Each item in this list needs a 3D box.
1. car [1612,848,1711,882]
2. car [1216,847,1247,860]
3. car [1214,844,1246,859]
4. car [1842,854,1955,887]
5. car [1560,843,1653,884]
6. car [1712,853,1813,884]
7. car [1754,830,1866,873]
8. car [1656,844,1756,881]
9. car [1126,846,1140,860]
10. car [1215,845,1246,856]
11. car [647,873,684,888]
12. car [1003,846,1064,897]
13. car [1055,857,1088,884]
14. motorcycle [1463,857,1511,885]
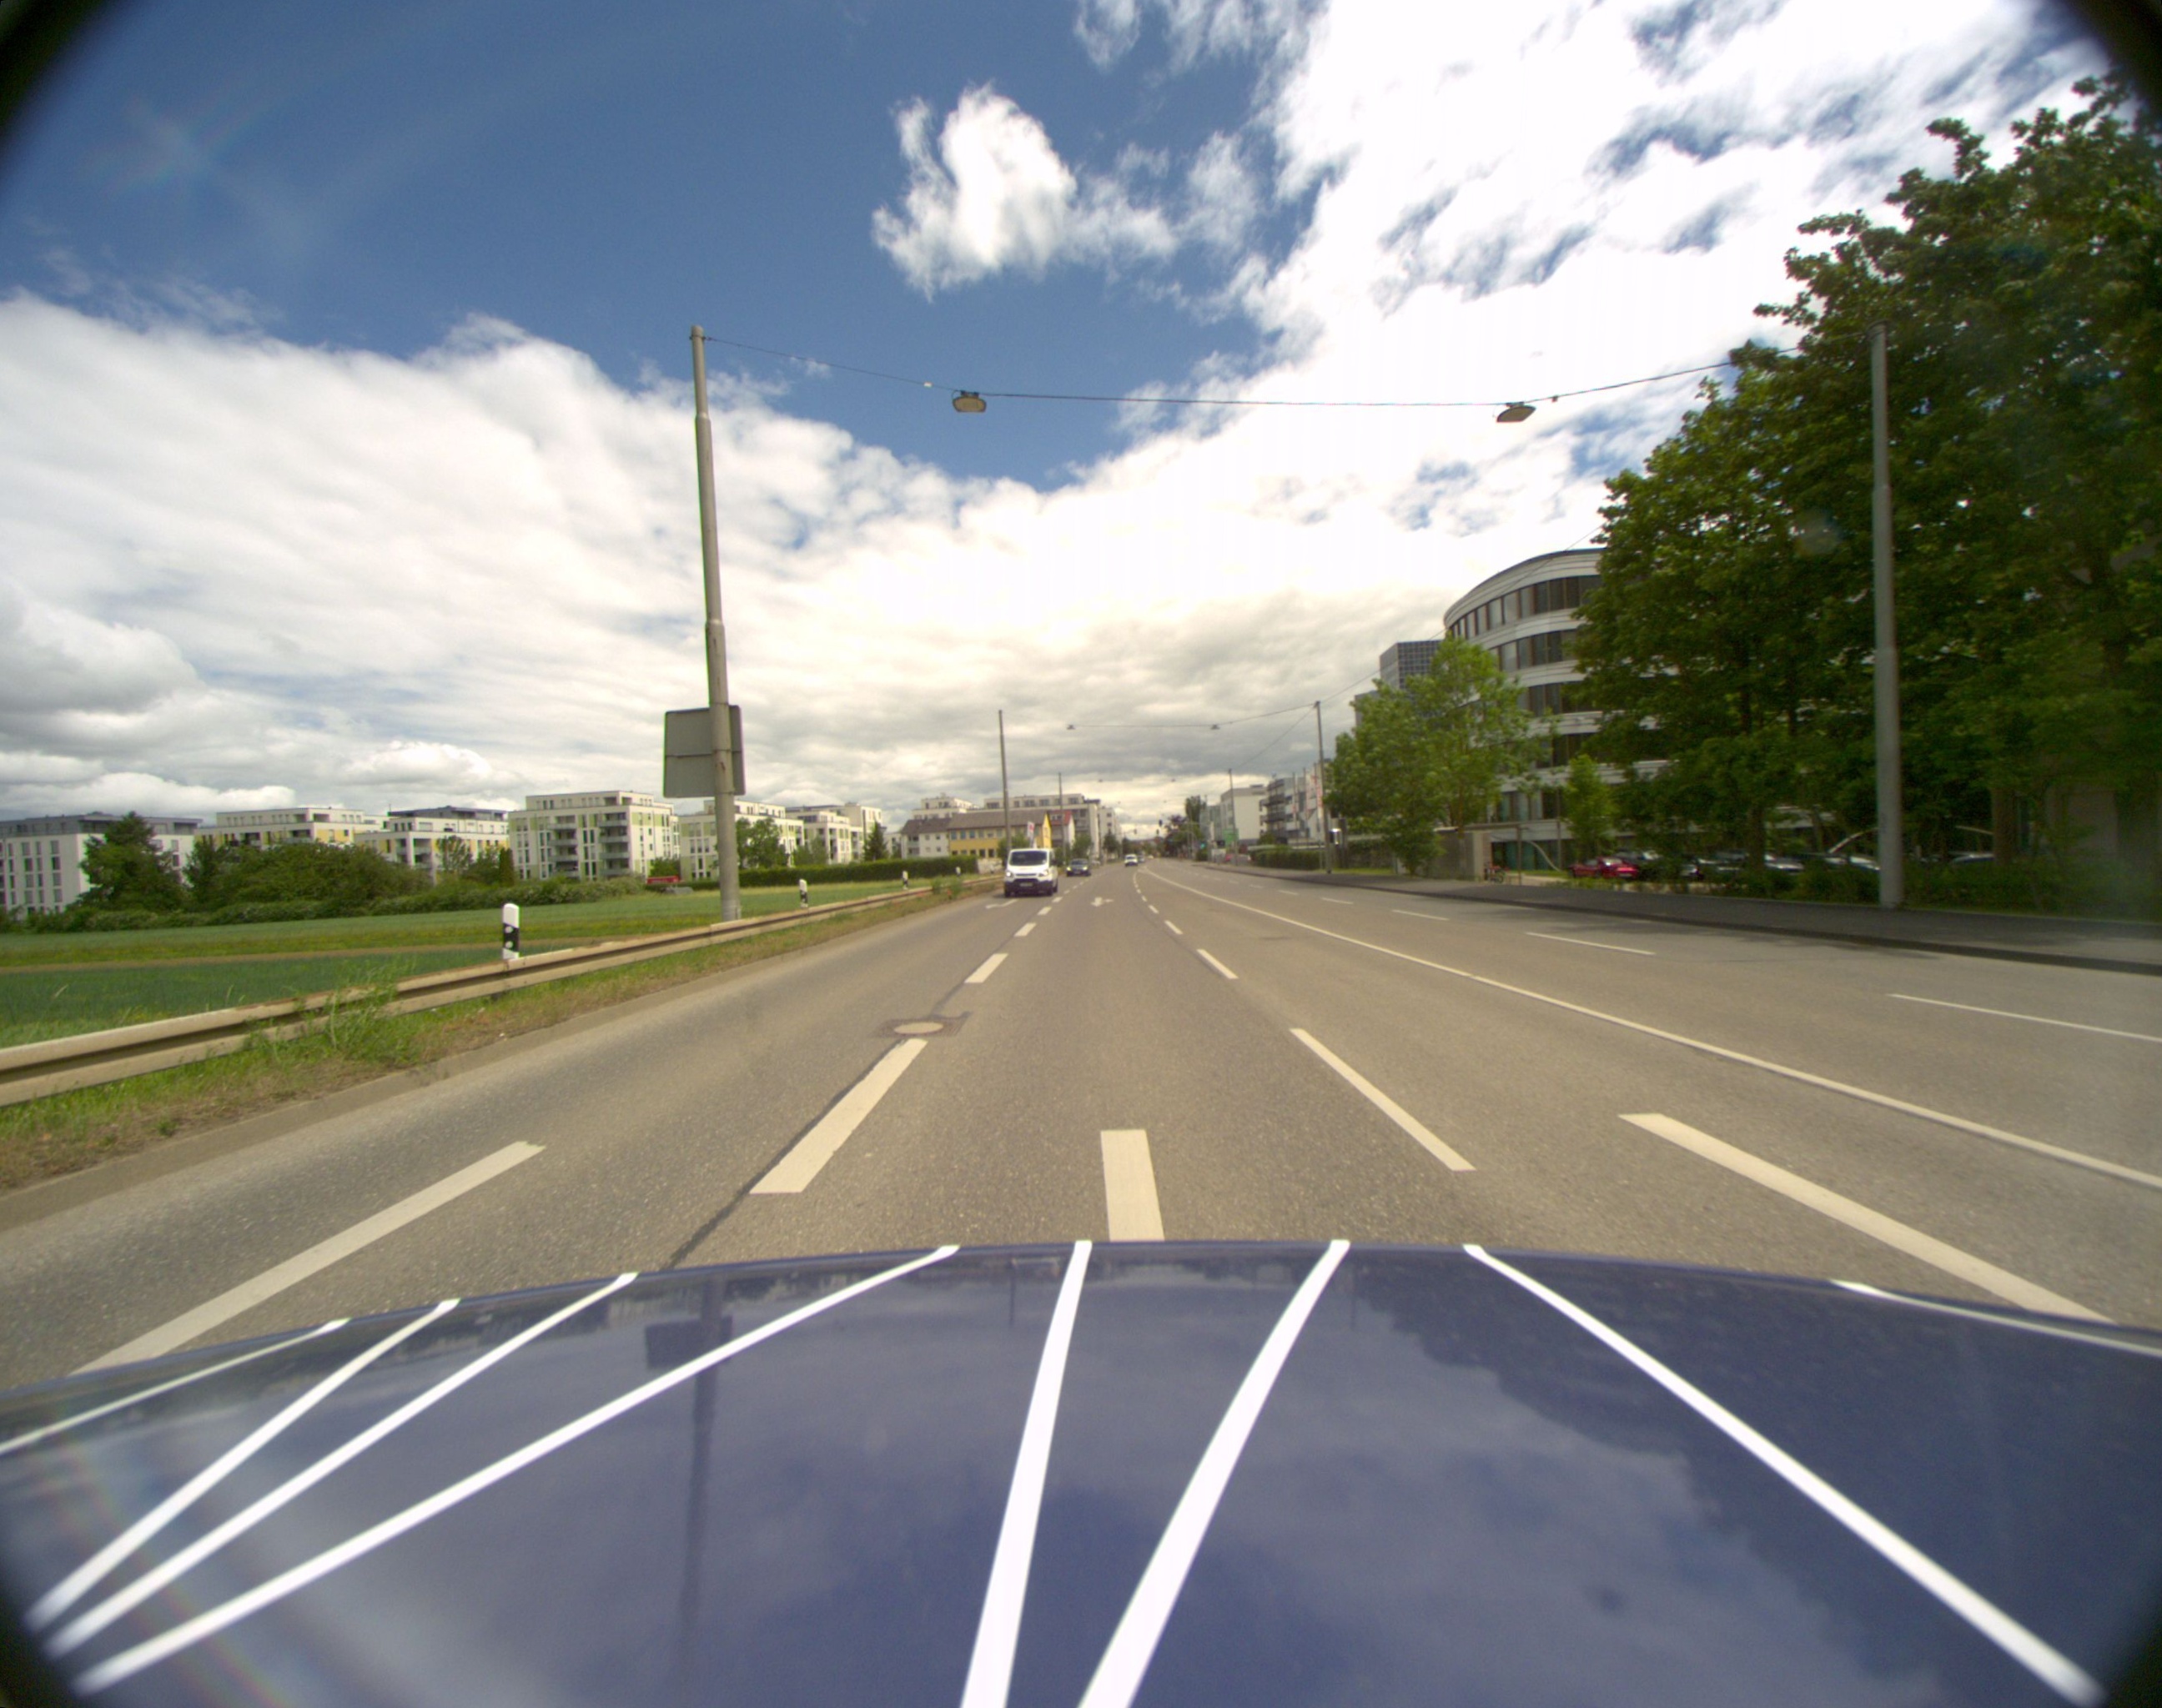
[{"bbox_3d":[29.402,0.528,38.660,1.998,1.608,4.000,0,1,1],"label":"car"},{"bbox_3d":[20.335,-0.121,102.794,3.801,1.601,1.836,-2,0,2],"label":"car"},{"bbox_3d":[20.597,-0.351,105.344,3.996,2.002,1.920,-2,1,3],"label":"car"},{"bbox_3d":[44.295,0.849,41.296,1.845,1.607,4.039,-2,1,1],"label":"car"},{"bbox_3d":[27.056,0.438,39.322,1.868,1.784,3.996,-2,3,-4],"label":"car"},{"bbox_3d":[34.421,0.694,38.523,1.525,1.368,4.000,-2,1,1],"label":"car"},{"bbox_3d":[37.003,-0.143,38.719,1.933,2.015,4.000,-2,1,1],"label":"car"},{"bbox_3d":[31.898,0.373,38.935,1.824,1.713,4.000,-2,1,1],"label":"car"},{"bbox_3d":[7.719,-0.210,113.448,1.800,2.002,3.999,-2,1,1],"label":"car"},{"bbox_3d":[21.707,-0.488,110.434,3.996,1.324,1.824,-5,0,2],"label":"car"},{"bbox_3d":[-63.307,4.101,115.701,4.437,2.002,2.000,-2,1,0],"label":"car"},{"bbox_3d":[-1.950,0.659,33.086,1.998,1.907,5.882,-2,1,2],"label":"car"},{"bbox_3d":[-0.542,1.020,47.186,1.879,1.478,3.774,-4,0,0],"label":"car"},{"bbox_3d":[19.929,0.823,37.303,1.905,1.237,0.745,-2,1,-1],"label":"motorcycle"}]
